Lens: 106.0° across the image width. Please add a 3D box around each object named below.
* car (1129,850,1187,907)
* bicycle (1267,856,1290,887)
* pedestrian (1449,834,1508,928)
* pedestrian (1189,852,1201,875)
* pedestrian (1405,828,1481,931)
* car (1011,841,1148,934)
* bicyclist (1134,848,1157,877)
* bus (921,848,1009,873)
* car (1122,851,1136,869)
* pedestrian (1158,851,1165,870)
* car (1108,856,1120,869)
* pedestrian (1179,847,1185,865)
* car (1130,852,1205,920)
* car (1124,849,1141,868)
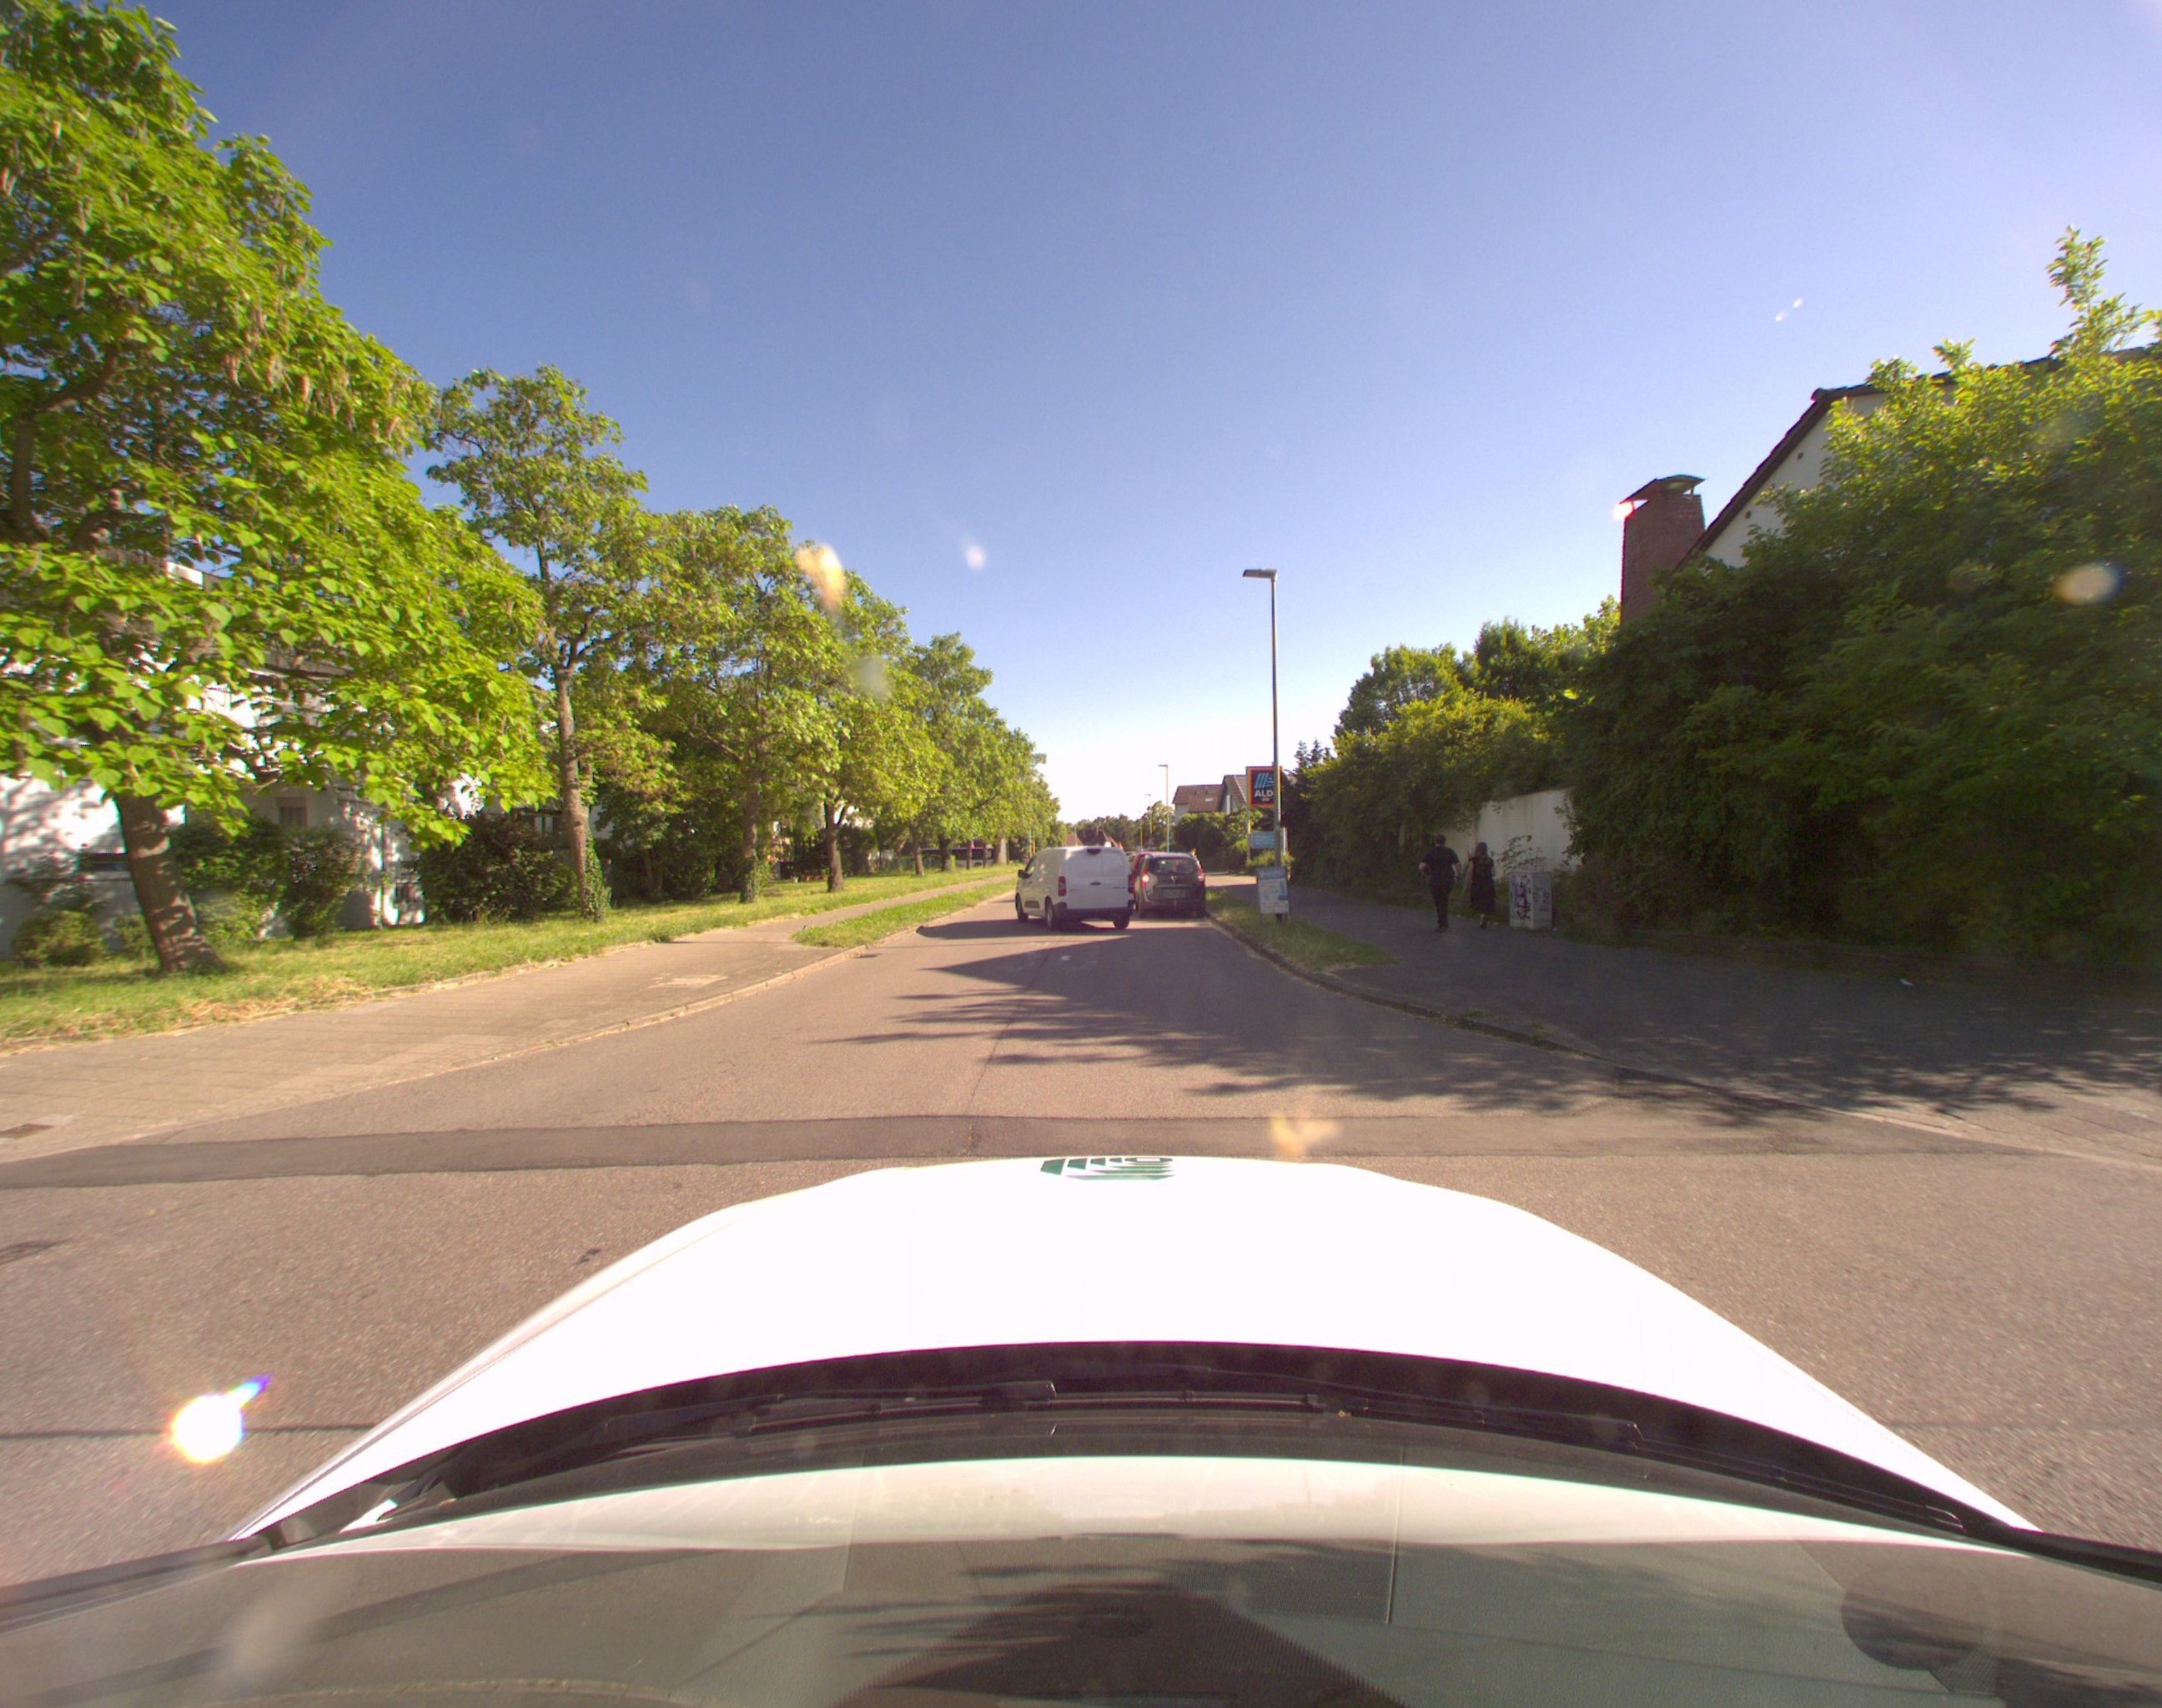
[{"bbox_3d":[2.647,0.802,28.830,1.832,1.805,4.658,-1,0,3],"label":"car"},{"bbox_3d":[8.241,0.721,34.005,0.714,1.221,1.905,-3,-2,18],"label":"bicycle"},{"bbox_3d":[7.094,0.487,14.579,0.571,1.609,0.792,-3,-2,-1],"label":"pedestrian"},{"bbox_3d":[9.002,0.770,64.291,0.793,1.782,0.811,-1,0,10],"label":"pedestrian"},{"bbox_3d":[6.372,0.440,14.380,0.801,1.717,0.983,-3,-2,-1],"label":"pedestrian"},{"bbox_3d":[-0.186,0.704,19.092,1.999,1.882,4.263,-1,0,-18],"label":"car"},{"bbox_3d":[3.643,0.484,45.910,0.954,1.584,0.914,-1,-2,29],"label":"bicyclist"},{"bbox_3d":[-14.280,0.801,100.658,10.544,2.824,3.040,-1,-1,-7],"label":"bus"},{"bbox_3d":[6.949,0.922,118.674,1.860,2.562,4.768,1,-1,1],"label":"car"},{"bbox_3d":[7.120,0.578,71.869,0.564,1.637,0.548,-1,0,8],"label":"pedestrian"},{"bbox_3d":[5.585,1.504,137.826,1.797,2.069,4.000,1,-1,1],"label":"car"},{"bbox_3d":[9.291,0.212,75.039,0.564,1.637,0.548,-1,0,8],"label":"pedestrian"},{"bbox_3d":[2.263,0.792,22.279,1.718,1.656,4.355,-1,0,2],"label":"car"},{"bbox_3d":[5.321,0.477,84.714,1.717,1.837,4.004,-1,-1,3],"label":"car"}]
